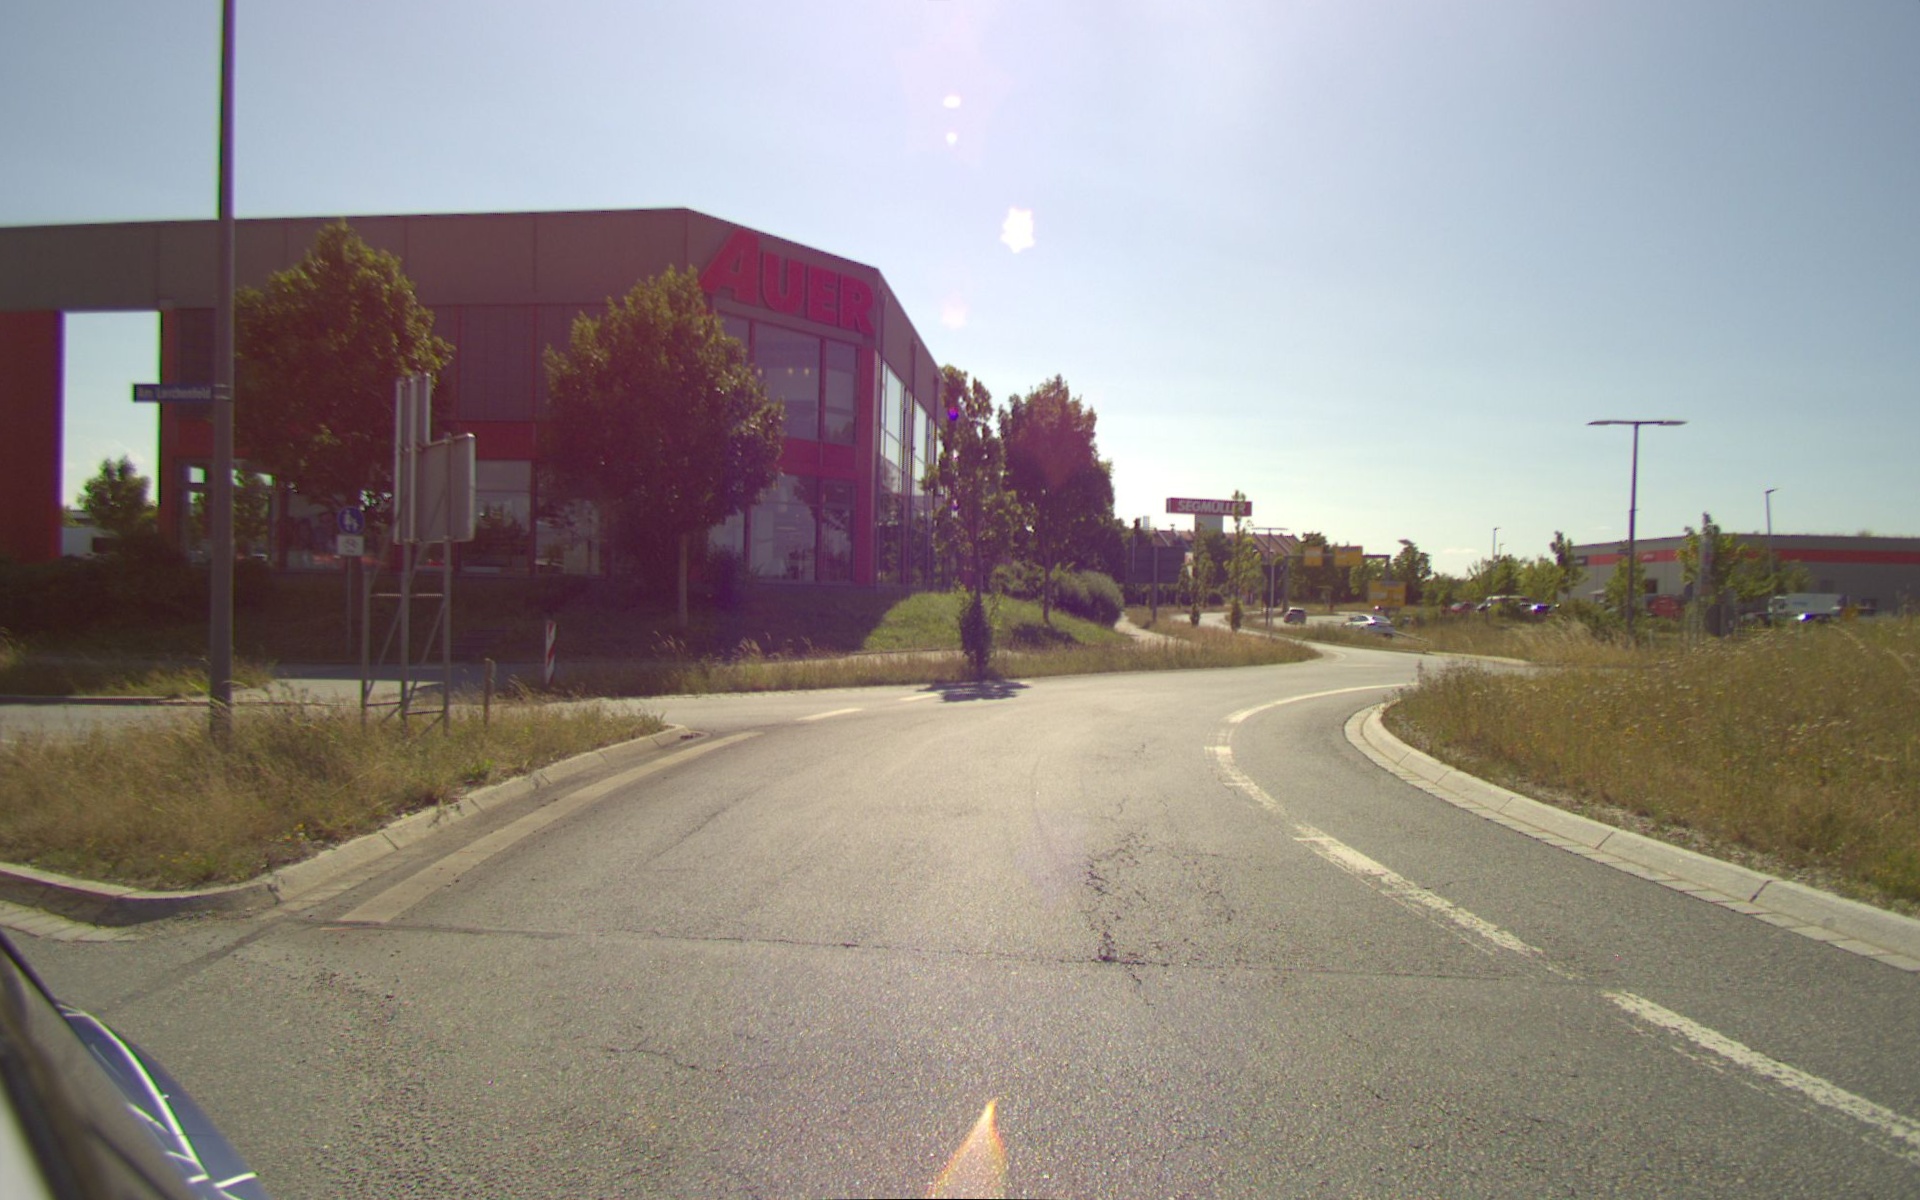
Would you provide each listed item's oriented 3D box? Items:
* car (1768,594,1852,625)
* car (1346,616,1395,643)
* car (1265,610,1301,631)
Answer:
[{"bbox_3d":[58.767,0.651,70.040,3.948,2.029,1.998,1,0,4],"label":"car"},{"bbox_3d":[26.808,1.919,66.187,1.705,1.586,4.271,1,0,5],"label":"car"},{"bbox_3d":[29.343,1.848,92.106,1.666,1.786,3.774,1,0,-6],"label":"car"}]
